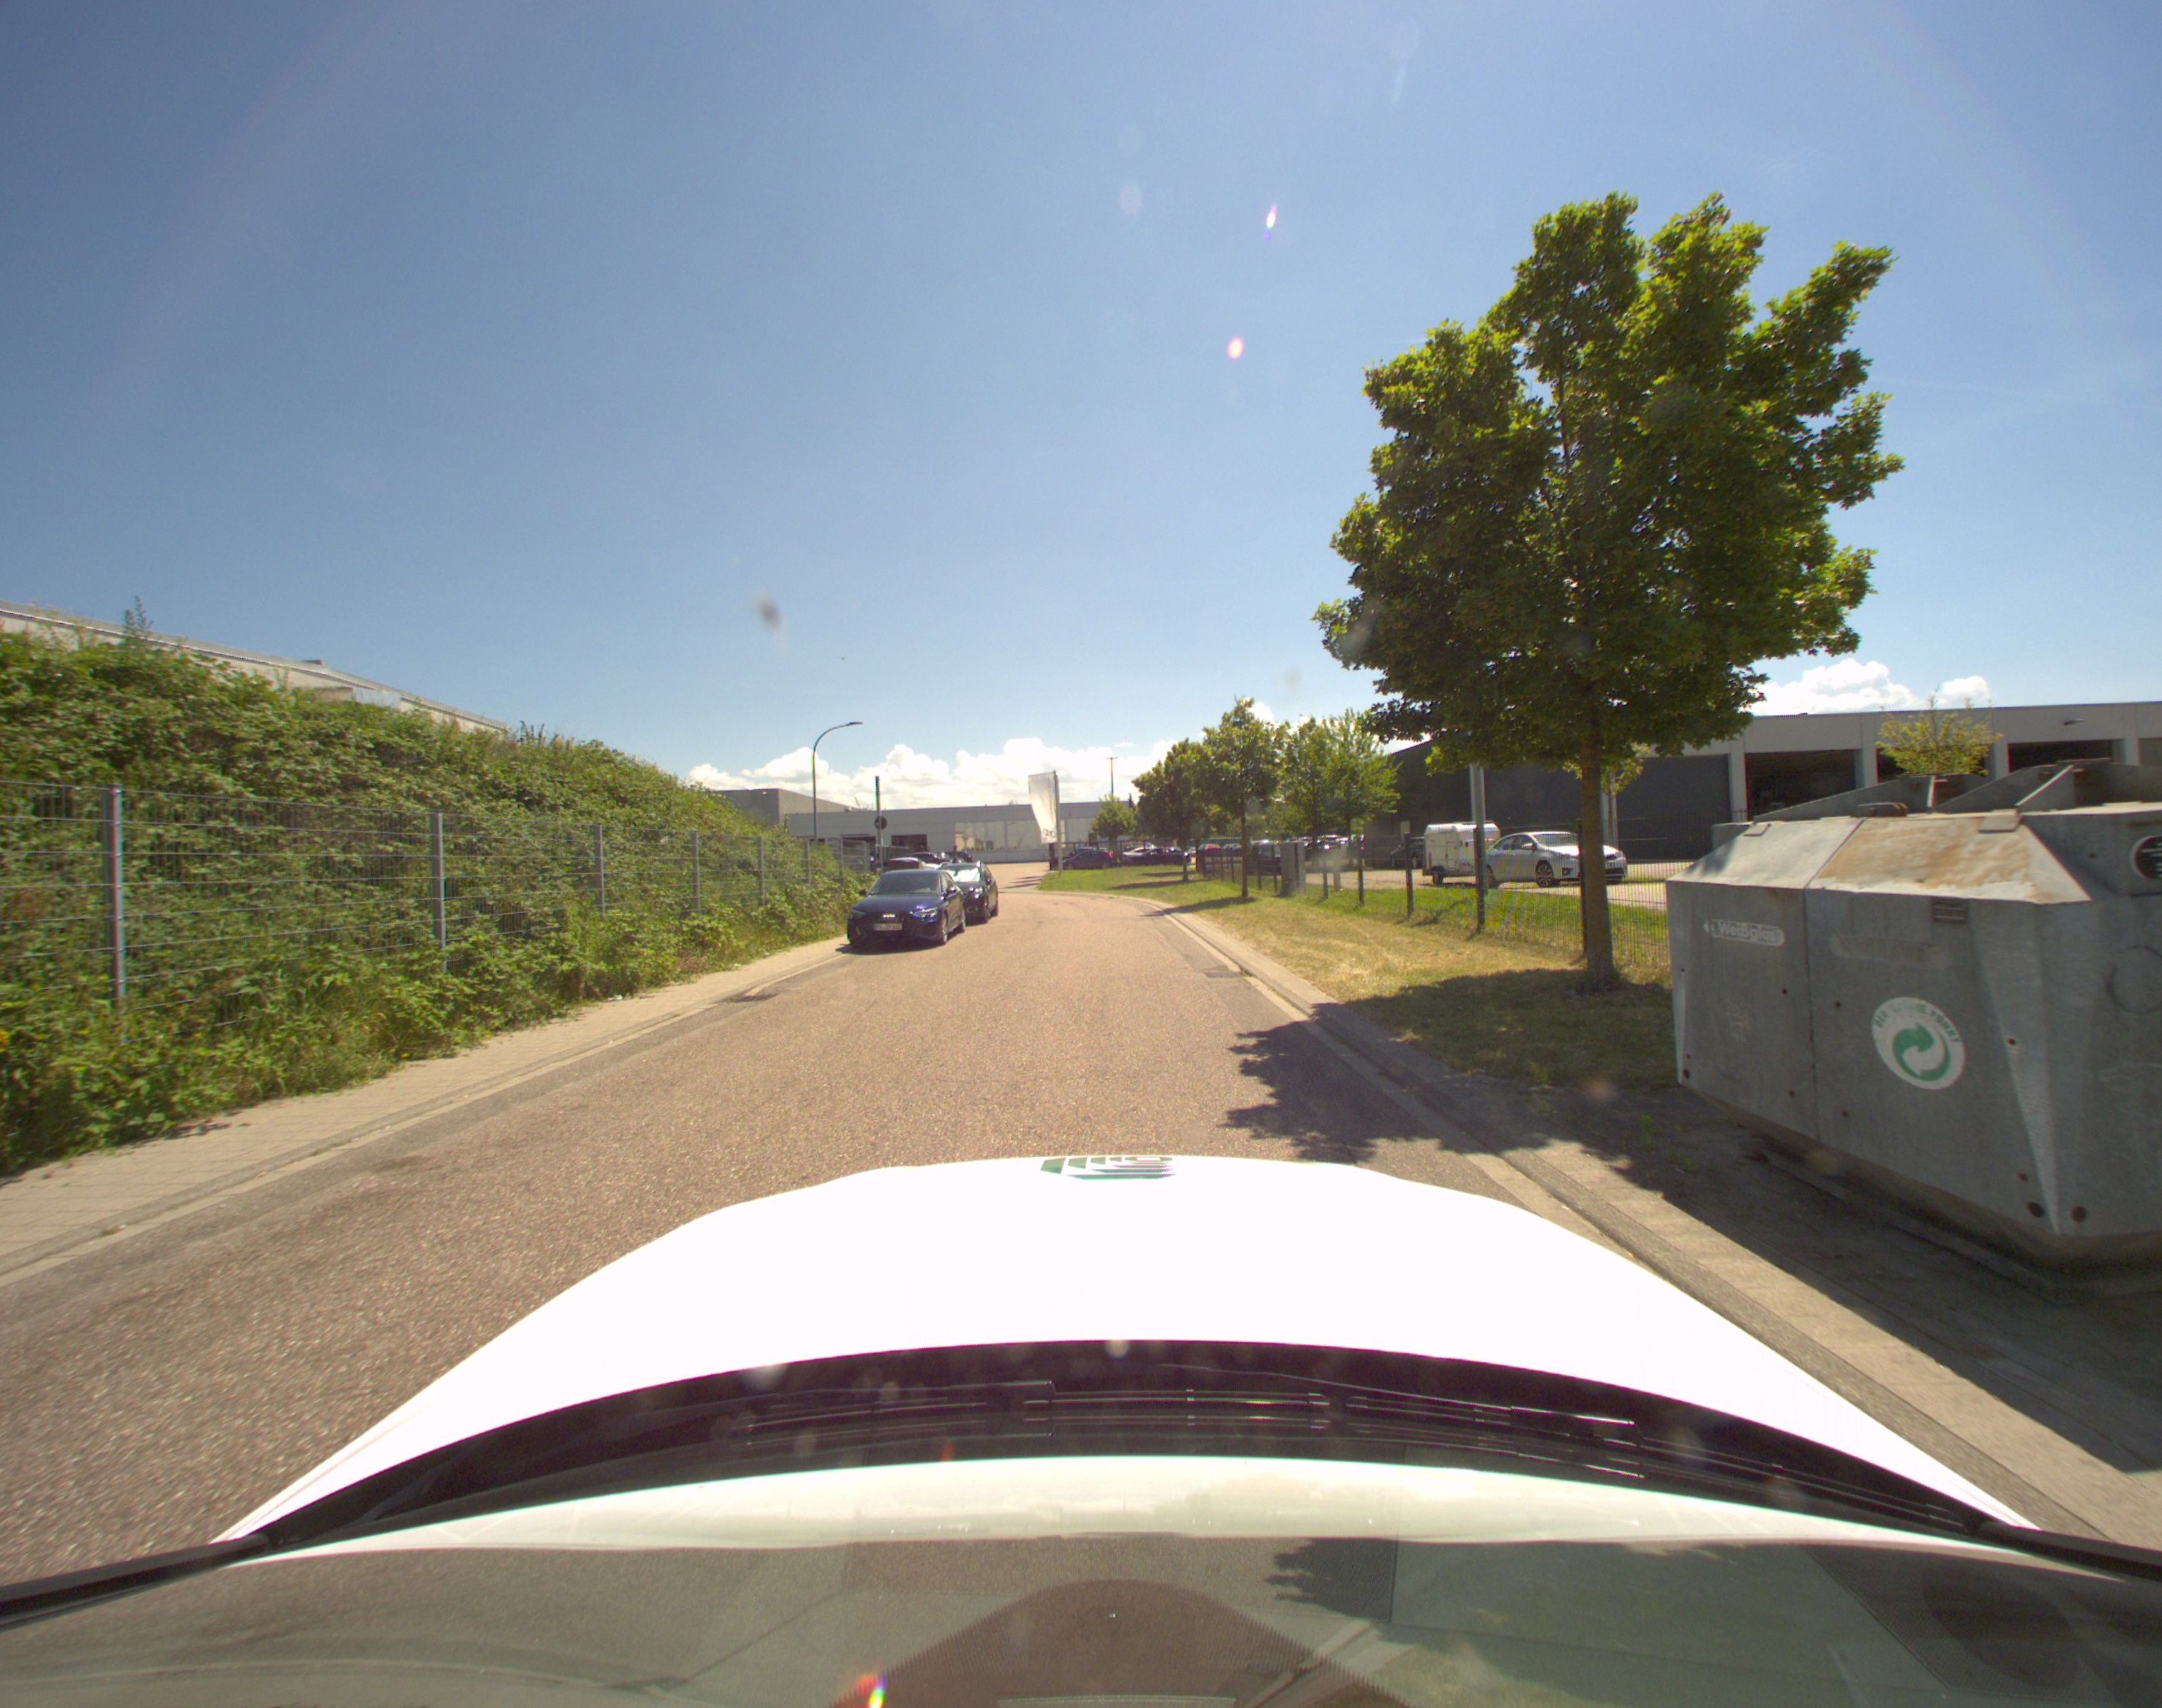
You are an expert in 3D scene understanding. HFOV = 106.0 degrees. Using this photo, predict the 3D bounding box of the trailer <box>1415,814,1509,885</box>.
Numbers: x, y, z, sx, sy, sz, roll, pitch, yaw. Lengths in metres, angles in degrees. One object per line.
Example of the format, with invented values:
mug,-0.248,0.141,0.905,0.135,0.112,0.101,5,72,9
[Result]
trailer,11.951,-0.193,25.752,1.487,2.006,3.267,-3,2,3

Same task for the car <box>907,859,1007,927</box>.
car,-3.161,0.947,21.635,1.827,1.546,4.265,-3,0,1

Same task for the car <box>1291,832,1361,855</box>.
car,17.962,-0.730,59.828,4.425,1.398,1.999,-3,-2,-1

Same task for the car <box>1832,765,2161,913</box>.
car,12.062,-0.224,9.867,1.784,1.531,4.420,-3,1,-1

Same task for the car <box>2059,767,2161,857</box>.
car,31.804,-1.318,22.830,1.876,2.478,5.500,-3,-3,-2

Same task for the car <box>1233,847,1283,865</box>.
car,15.865,0.197,72.985,3.975,1.398,1.999,-3,-2,-1

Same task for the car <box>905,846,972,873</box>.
car,-11.340,0.414,64.954,4.868,1.922,2.000,-3,0,0

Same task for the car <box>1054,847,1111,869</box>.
car,0.124,0.297,58.656,3.975,1.398,1.999,-3,-2,-1

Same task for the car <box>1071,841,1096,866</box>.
car,0.183,-0.009,68.714,1.988,1.827,3.997,-3,-2,-1

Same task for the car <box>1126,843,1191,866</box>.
car,5.539,0.057,58.502,4.425,1.398,1.999,-3,-2,-1

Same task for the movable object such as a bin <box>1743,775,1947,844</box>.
movable object such as a bin,38.974,-2.141,42.017,3.530,2.994,7.317,-3,0,-1

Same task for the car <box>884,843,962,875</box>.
car,-11.680,0.335,60.568,5.301,2.097,2.000,-3,0,0

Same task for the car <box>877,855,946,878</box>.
car,-12.027,0.897,57.865,4.425,1.398,1.999,-3,-2,-1

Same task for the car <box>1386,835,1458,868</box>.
car,15.968,-0.137,38.293,1.731,1.407,3.695,-3,0,-1

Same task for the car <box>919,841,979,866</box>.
car,-11.668,-0.070,72.329,4.868,1.922,2.000,-3,0,0

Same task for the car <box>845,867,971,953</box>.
car,-3.366,1.022,16.577,1.651,1.417,4.143,-3,0,-1

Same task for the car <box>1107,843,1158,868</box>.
car,4.162,0.132,66.727,3.975,1.827,1.999,-3,-2,-1

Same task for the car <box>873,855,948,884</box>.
car,-11.016,1.002,52.855,4.425,1.626,1.999,-3,-2,-1

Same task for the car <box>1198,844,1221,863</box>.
car,14.267,-0.016,90.660,1.987,1.827,4.000,-3,-2,1

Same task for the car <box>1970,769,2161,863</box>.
car,28.938,-1.031,22.679,1.876,2.263,5.651,-3,-3,-2

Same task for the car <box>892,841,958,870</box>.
car,-11.994,0.120,62.670,4.572,1.922,2.000,-3,0,0

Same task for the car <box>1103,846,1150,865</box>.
car,3.995,0.165,72.379,3.975,1.398,1.999,-3,-2,-1

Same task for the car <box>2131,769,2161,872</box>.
car,16.483,-0.478,9.877,1.784,1.481,4.420,-3,1,-1

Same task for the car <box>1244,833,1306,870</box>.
car,8.844,-0.122,37.461,1.731,1.522,3.892,-3,0,-2

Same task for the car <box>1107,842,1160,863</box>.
car,4.064,-0.078,63.432,3.975,1.398,1.999,-3,-2,-1

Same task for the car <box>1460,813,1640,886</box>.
car,11.799,-0.015,20.919,1.876,1.523,4.464,-3,-3,-2

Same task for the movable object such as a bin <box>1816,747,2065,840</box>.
movable object such as a bin,43.775,-2.880,42.090,3.530,3.974,8.664,-3,0,-1

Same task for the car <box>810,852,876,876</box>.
car,-18.425,0.802,63.167,4.425,1.626,1.999,-3,-2,-1

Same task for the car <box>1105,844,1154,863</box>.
car,4.070,-0.036,69.052,3.975,1.398,1.999,-3,-2,-1
